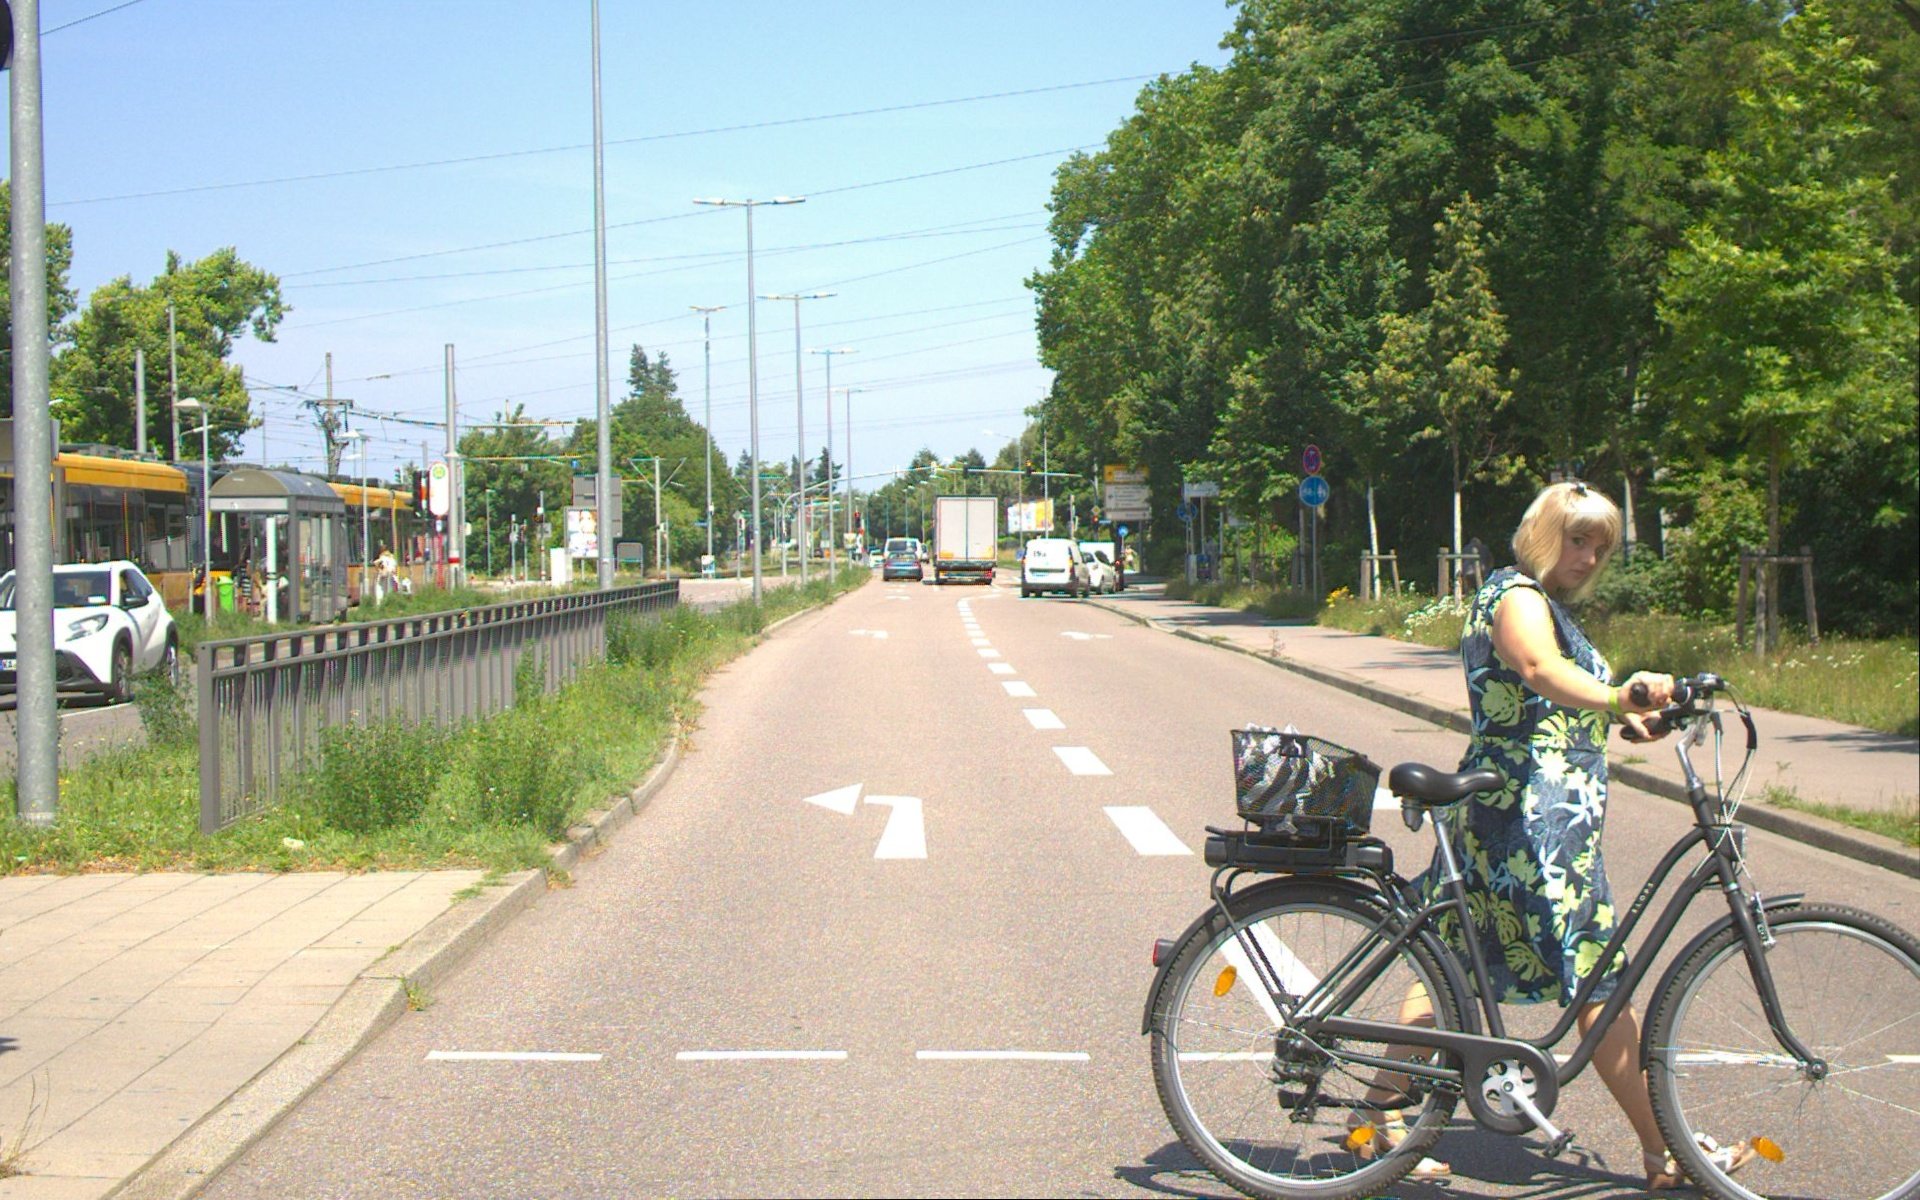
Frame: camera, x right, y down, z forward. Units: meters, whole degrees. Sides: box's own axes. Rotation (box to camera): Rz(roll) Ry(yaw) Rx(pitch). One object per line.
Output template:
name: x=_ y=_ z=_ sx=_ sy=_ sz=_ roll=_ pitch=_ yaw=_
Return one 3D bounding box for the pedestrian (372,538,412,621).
pedestrian: x=-13.817 y=-0.513 z=83.656 sx=0.815 sy=2.007 sz=0.938 roll=0 pitch=1 yaw=-1

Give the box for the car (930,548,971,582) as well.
car: x=-0.435 y=-1.567 z=153.619 sx=1.811 sy=1.459 sz=4.000 roll=0 pitch=1 yaw=-1

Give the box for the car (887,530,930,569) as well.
car: x=-2.464 y=-2.372 z=163.454 sx=1.993 sy=1.809 sz=4.000 roll=1 pitch=1 yaw=-1

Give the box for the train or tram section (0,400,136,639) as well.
train or tram section: x=-16.437 y=-1.146 z=47.967 sx=2.957 sy=3.736 sz=30.035 roll=0 pitch=1 yaw=-1

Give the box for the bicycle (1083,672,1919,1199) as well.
bicycle: x=1.289 y=0.751 z=7.522 sx=1.959 sy=1.157 sz=0.541 roll=0 pitch=1 yaw=18

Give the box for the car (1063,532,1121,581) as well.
car: x=4.547 y=-1.523 z=118.790 sx=1.779 sy=1.663 sz=4.000 roll=0 pitch=1 yaw=-1

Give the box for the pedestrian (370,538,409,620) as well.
pedestrian: x=-14.095 y=-0.530 z=84.949 sx=0.815 sy=2.007 sz=0.938 roll=0 pitch=1 yaw=-1

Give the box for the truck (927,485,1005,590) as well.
truck: x=0.211 y=-2.642 z=146.111 sx=3.205 sy=4.344 sz=6.561 roll=0 pitch=1 yaw=-1

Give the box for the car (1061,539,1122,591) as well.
car: x=4.297 y=-1.158 z=112.447 sx=1.779 sy=1.663 sz=4.000 roll=0 pitch=1 yaw=-1

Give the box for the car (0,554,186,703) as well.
car: x=-9.620 y=0.264 z=36.772 sx=1.845 sy=1.489 sz=3.791 roll=0 pitch=1 yaw=-1

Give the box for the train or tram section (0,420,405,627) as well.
train or tram section: x=-16.798 y=-1.698 z=79.517 sx=2.931 sy=3.776 sz=33.090 roll=0 pitch=1 yaw=-1

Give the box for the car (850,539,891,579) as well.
car: x=-4.556 y=-2.086 z=175.167 sx=1.993 sy=2.007 sz=4.000 roll=0 pitch=1 yaw=-1

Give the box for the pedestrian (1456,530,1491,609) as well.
pedestrian: x=9.357 y=-0.562 z=62.672 sx=0.604 sy=1.433 sz=0.556 roll=0 pitch=1 yaw=6

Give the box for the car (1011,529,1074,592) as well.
car: x=2.509 y=-1.229 z=105.517 sx=1.779 sy=1.897 sz=4.000 roll=0 pitch=1 yaw=-1

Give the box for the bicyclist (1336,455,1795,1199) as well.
bicyclist: x=1.392 y=0.512 z=7.850 sx=0.958 sy=1.661 sz=0.580 roll=0 pitch=1 yaw=18

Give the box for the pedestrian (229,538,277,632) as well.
pedestrian: x=-14.257 y=-0.306 z=69.303 sx=0.785 sy=1.862 sz=0.817 roll=0 pitch=1 yaw=-1

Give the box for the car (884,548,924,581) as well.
car: x=-2.576 y=-1.640 z=158.022 sx=1.811 sy=1.459 sz=4.000 roll=0 pitch=1 yaw=-1
